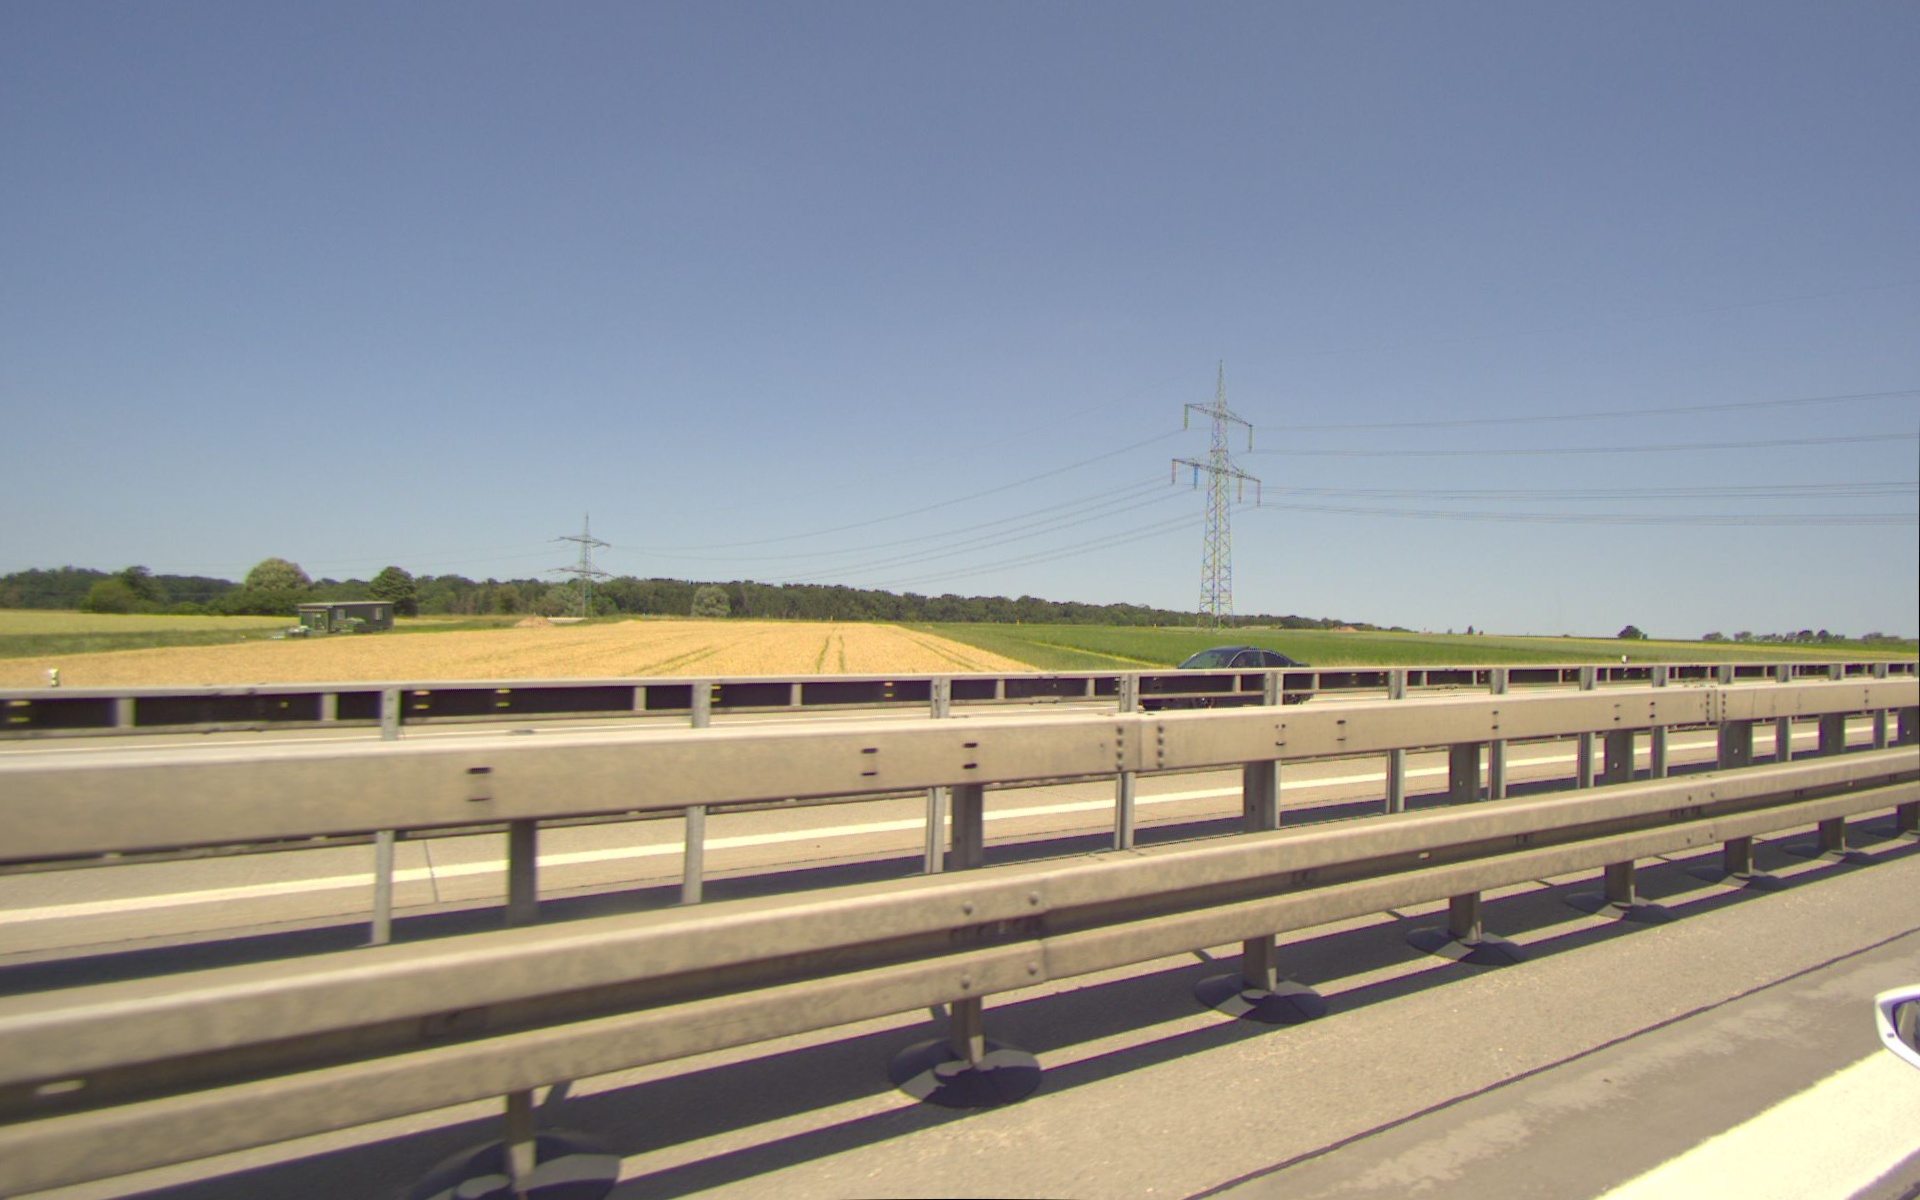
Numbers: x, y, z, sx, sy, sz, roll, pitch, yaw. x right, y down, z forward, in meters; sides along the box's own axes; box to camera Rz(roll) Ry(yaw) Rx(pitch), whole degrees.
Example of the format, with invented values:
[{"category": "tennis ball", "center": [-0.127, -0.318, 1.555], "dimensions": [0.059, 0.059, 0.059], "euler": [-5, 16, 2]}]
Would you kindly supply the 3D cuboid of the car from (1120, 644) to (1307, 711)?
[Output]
[{"category": "car", "center": [5.517, 1.619, 21.743], "dimensions": [3.994, 1.323, 1.566], "euler": [1, -2, -31]}]
